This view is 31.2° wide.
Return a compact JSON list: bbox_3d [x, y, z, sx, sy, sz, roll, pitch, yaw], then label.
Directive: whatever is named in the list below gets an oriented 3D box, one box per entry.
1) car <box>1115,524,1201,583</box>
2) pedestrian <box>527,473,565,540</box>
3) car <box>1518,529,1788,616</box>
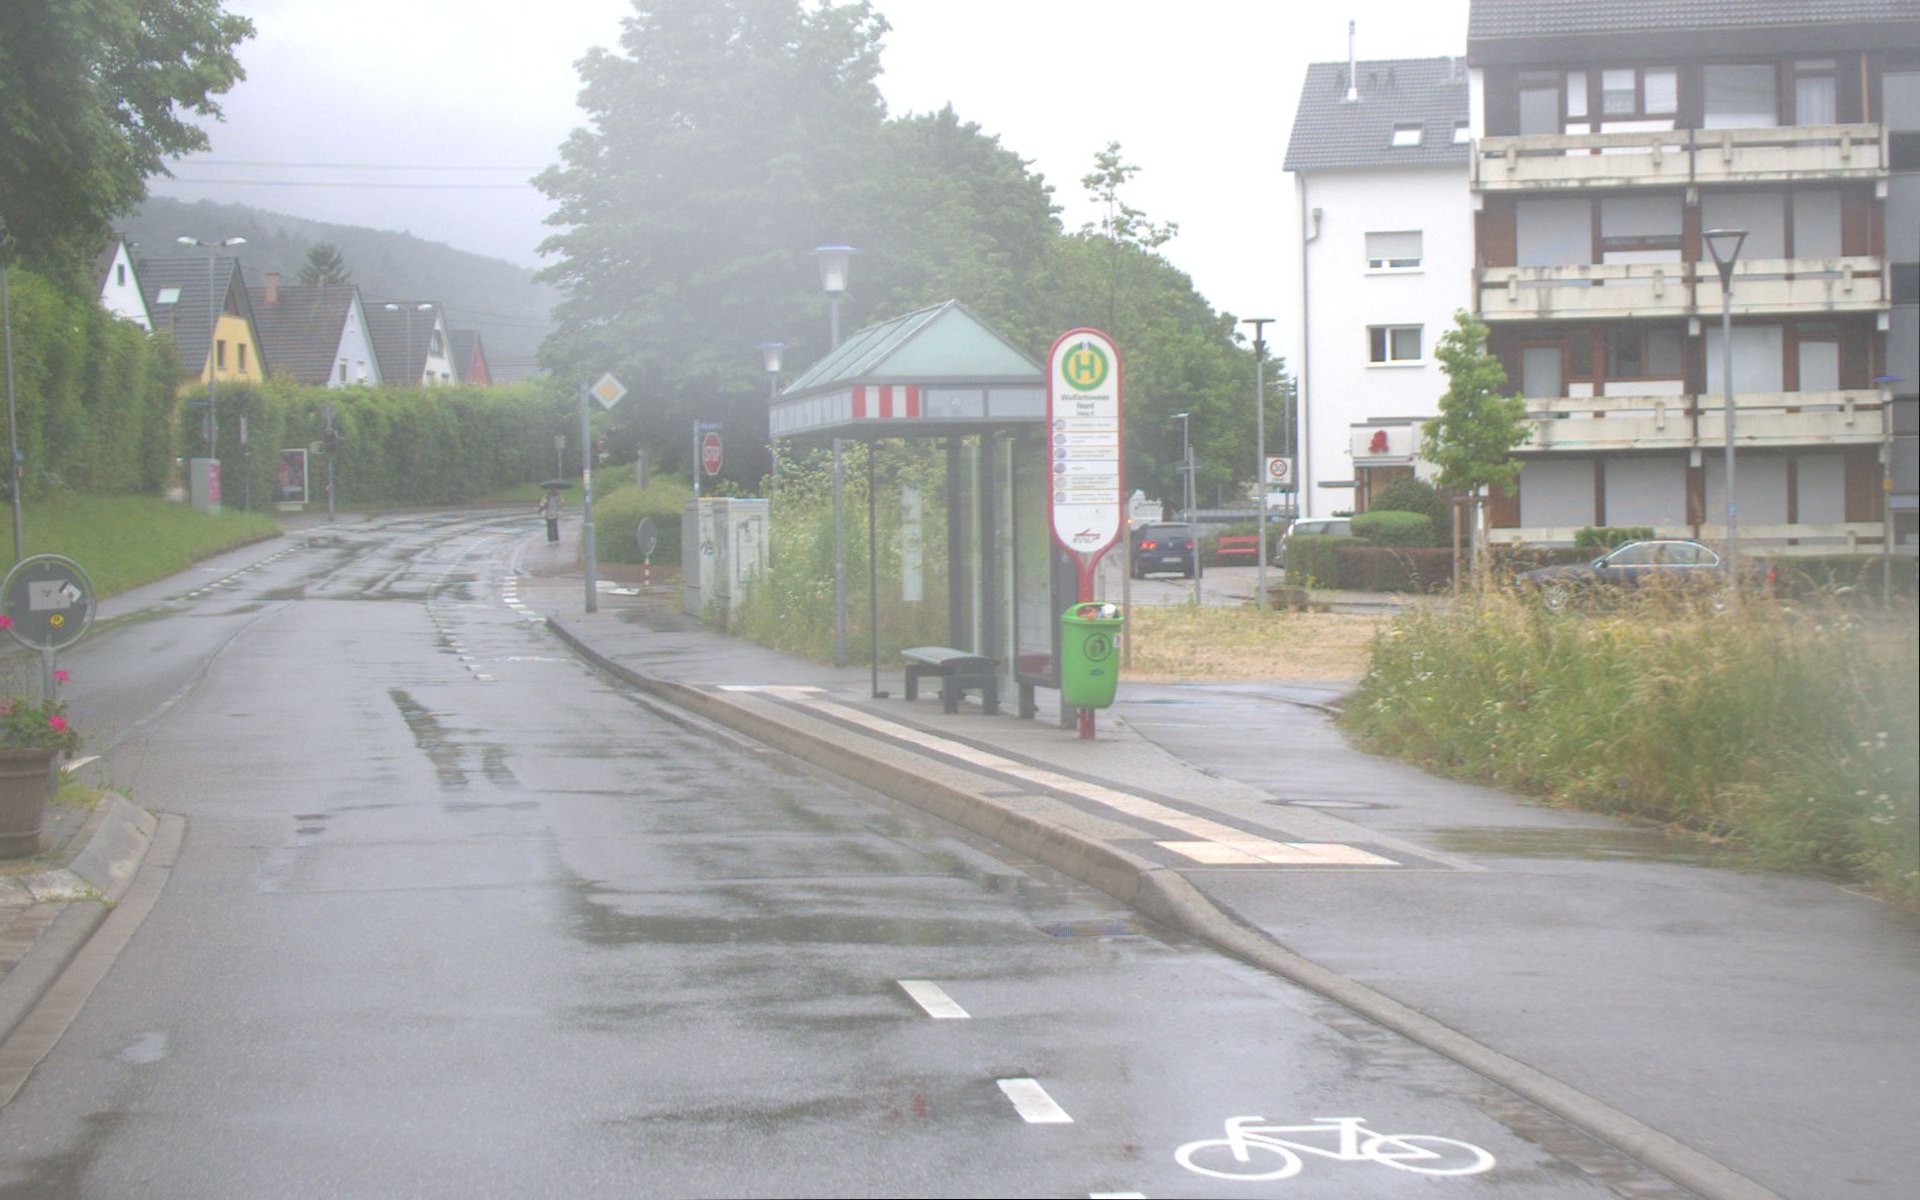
[{"bbox_3d":[5.174,-1.232,90.211,1.688,1.433,3.613,0,3,-6],"label":"car"},{"bbox_3d":[-10.676,-2.410,88.693,0.920,1.669,1.057,-2,3,-6],"label":"pedestrian"},{"bbox_3d":[12.275,-0.505,61.079,4.602,1.383,1.946,1,2,10],"label":"car"}]
